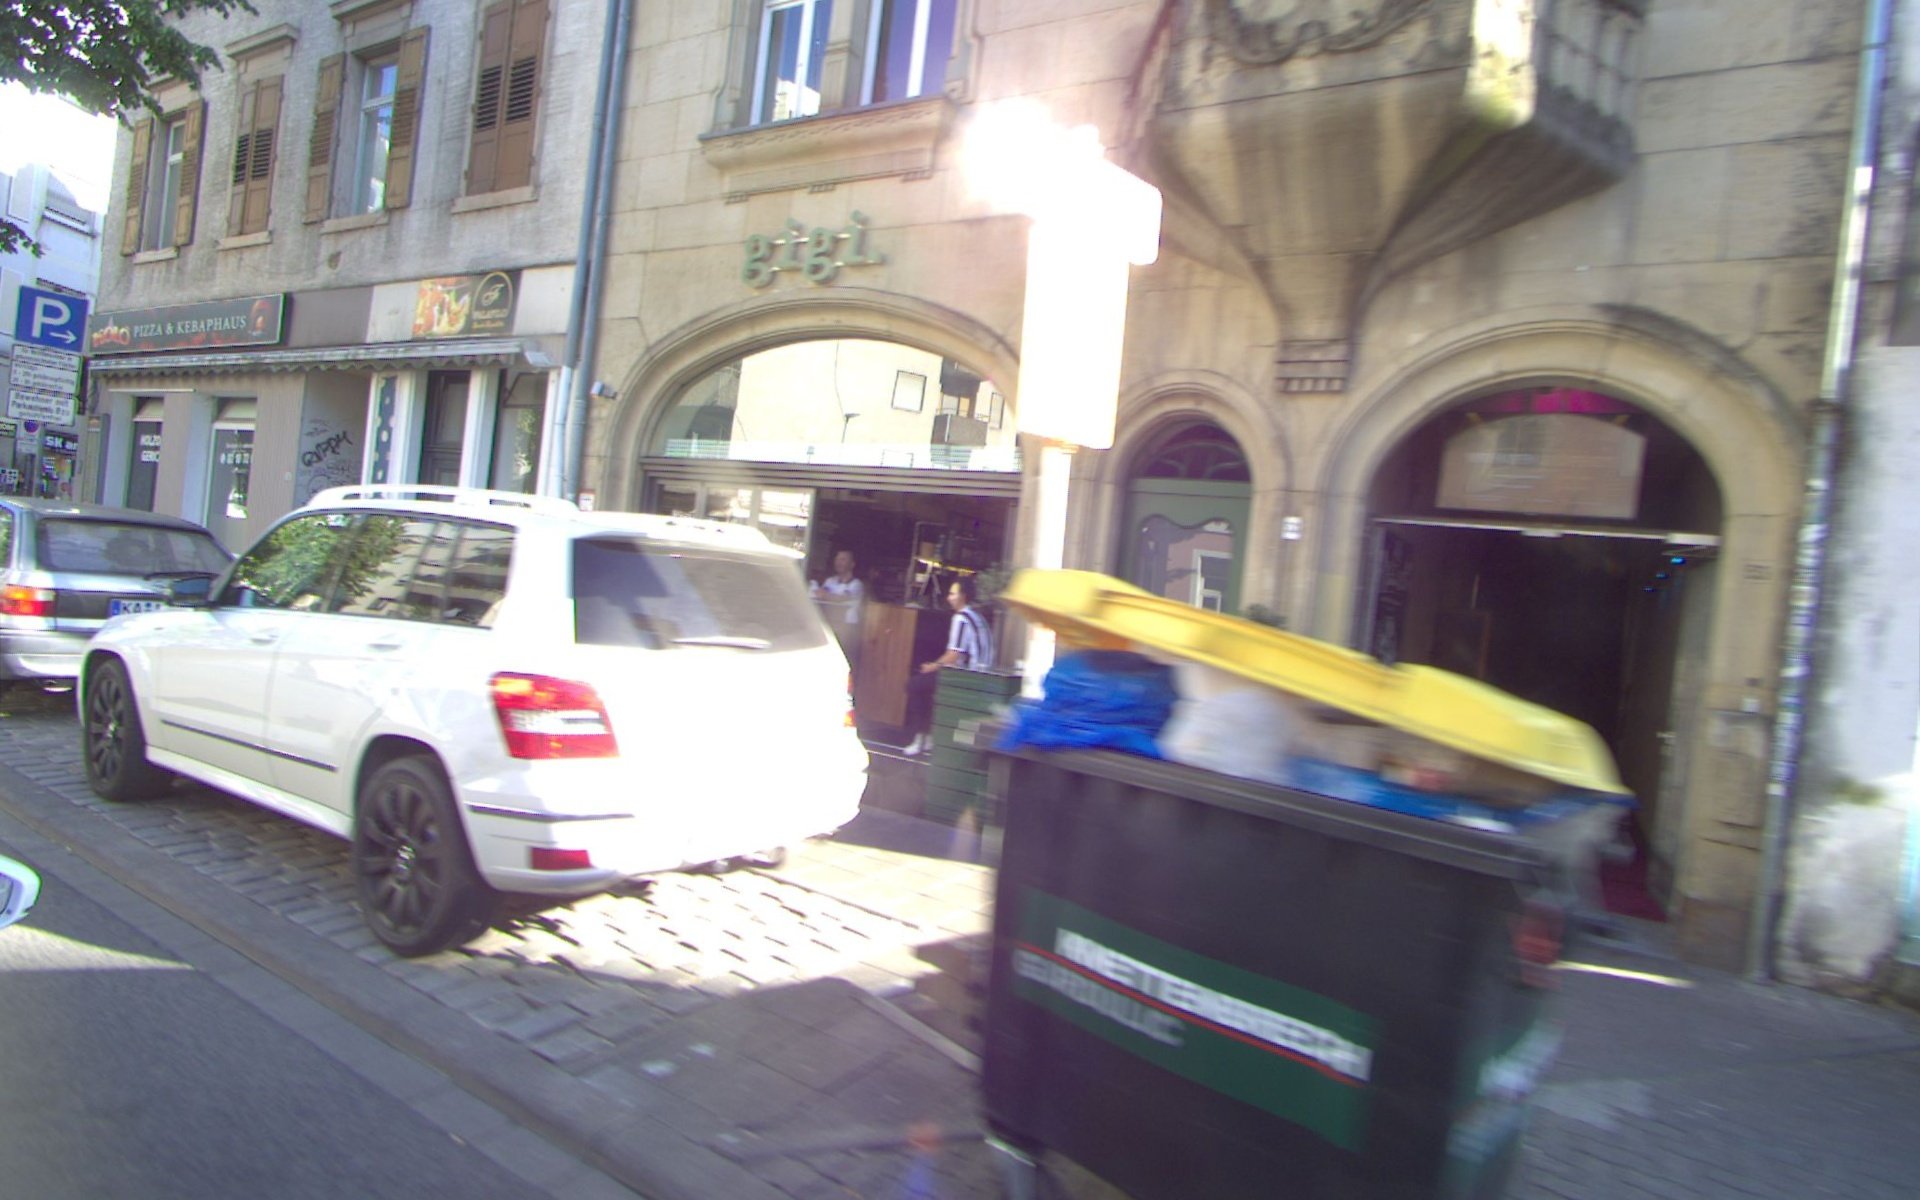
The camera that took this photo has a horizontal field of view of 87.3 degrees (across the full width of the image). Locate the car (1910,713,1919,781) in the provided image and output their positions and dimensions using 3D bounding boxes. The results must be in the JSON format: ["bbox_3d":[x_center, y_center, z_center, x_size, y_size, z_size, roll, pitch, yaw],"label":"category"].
[{"bbox_3d":[21.563,3.294,20.785,1.968,1.482,3.989,7,0,33],"label":"car"}]

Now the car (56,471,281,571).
[{"bbox_3d":[-21.139,-2.024,27.195,1.962,2.038,4.697,7,0,5],"label":"car"}]

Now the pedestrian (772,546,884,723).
[{"bbox_3d":[-1.261,0.328,9.639,0.602,1.586,0.697,7,2,30],"label":"pedestrian"}]

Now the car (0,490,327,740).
[{"bbox_3d":[-6.994,-0.070,7.743,4.228,1.409,1.823,7,2,31],"label":"car"}]

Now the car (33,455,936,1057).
[{"bbox_3d":[-2.564,0.331,4.983,4.524,1.701,1.822,7,3,32],"label":"car"}]

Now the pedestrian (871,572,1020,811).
[{"bbox_3d":[-0.101,0.631,7.224,0.687,1.560,0.611,7,2,31],"label":"pedestrian"}]

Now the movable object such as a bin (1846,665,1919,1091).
[{"bbox_3d":[4.600,1.164,3.816,1.473,1.648,1.207,7,1,30],"label":"movable object such as a bin"}]

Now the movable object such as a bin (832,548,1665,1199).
[{"bbox_3d":[0.678,0.770,2.424,1.438,1.582,1.141,7,1,40],"label":"movable object such as a bin"}]
